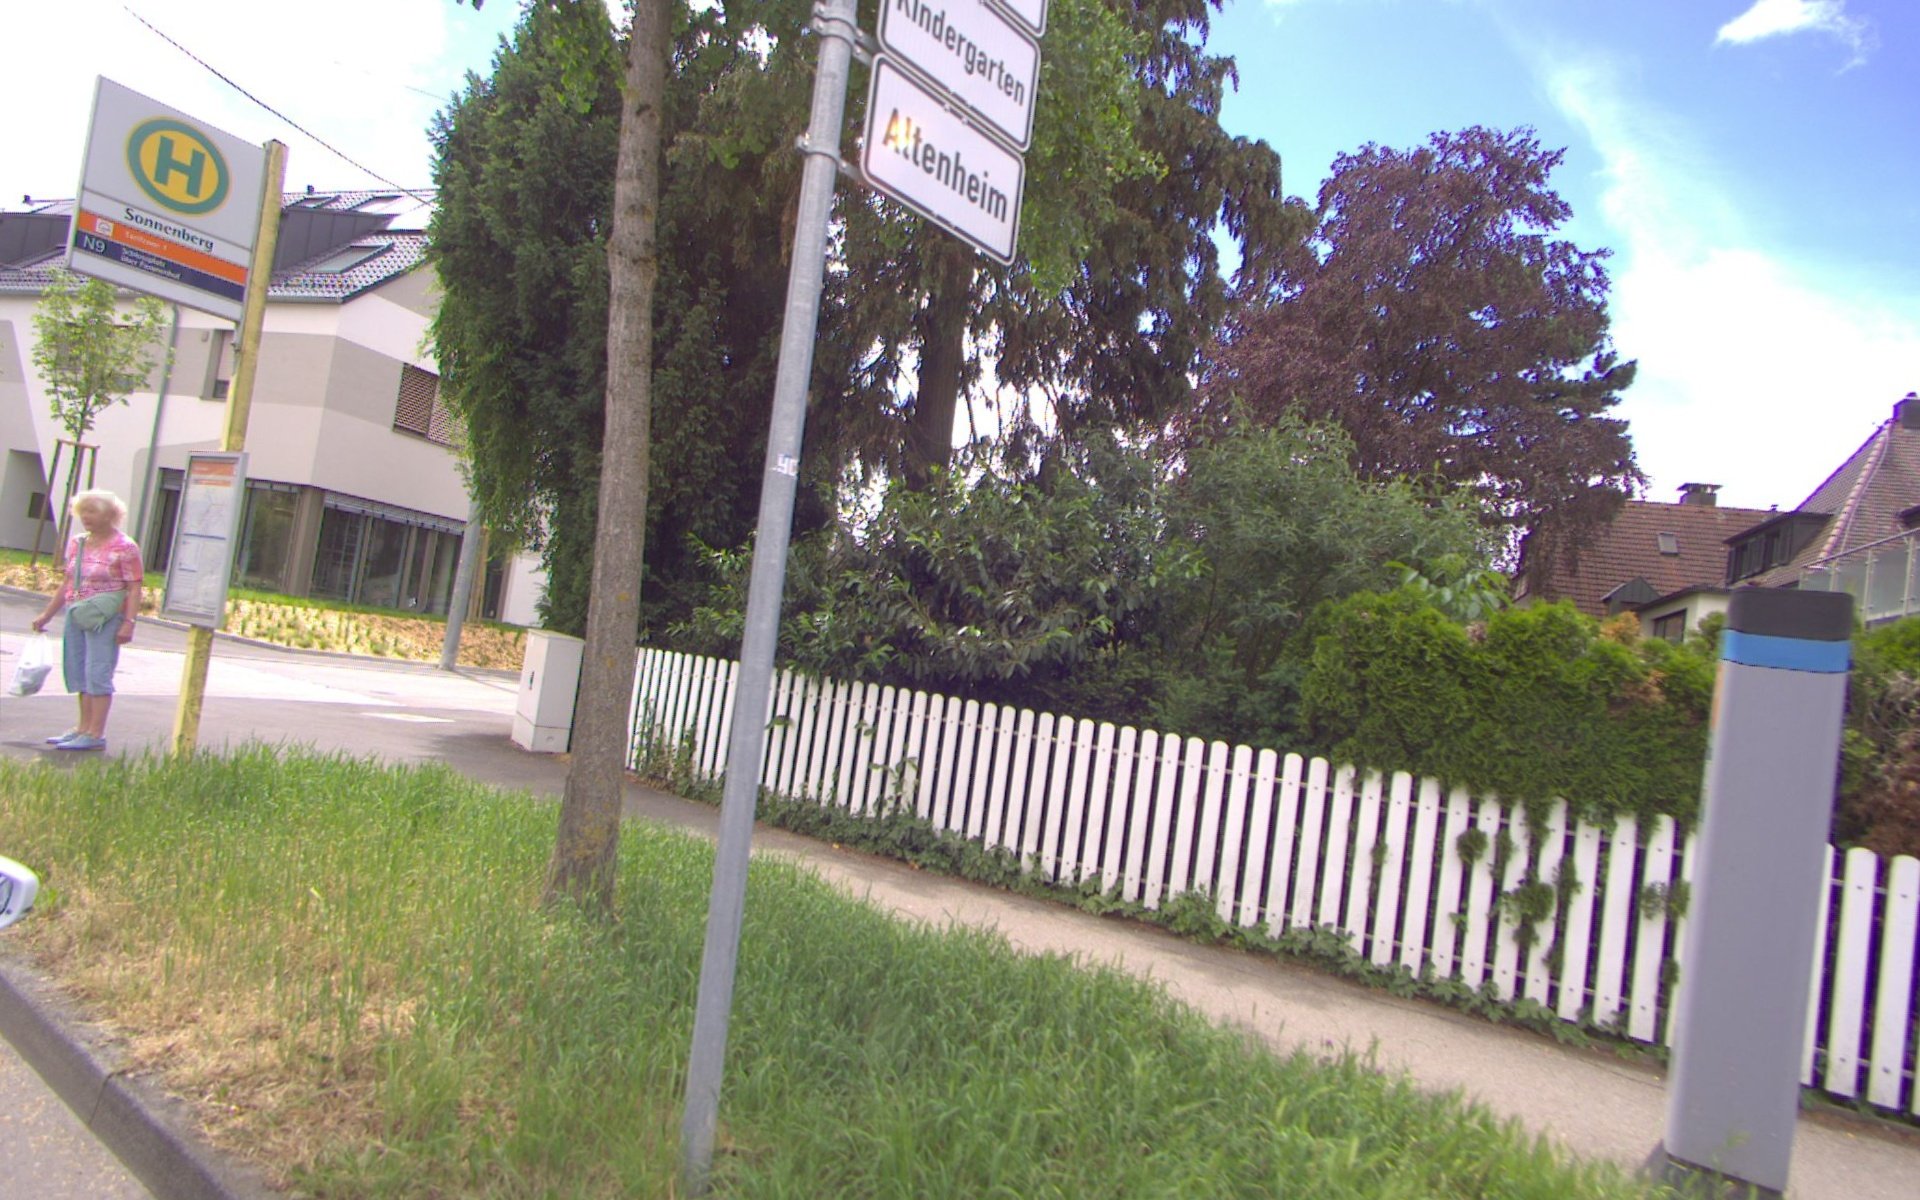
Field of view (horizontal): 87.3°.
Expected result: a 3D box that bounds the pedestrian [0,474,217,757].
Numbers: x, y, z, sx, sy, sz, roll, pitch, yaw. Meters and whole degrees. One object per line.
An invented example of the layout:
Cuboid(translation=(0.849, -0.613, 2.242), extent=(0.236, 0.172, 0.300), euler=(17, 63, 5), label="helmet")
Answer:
Cuboid(translation=(-5.705, 0.111, 6.579), extent=(0.843, 1.661, 0.884), euler=(6, -5, 33), label="pedestrian")
